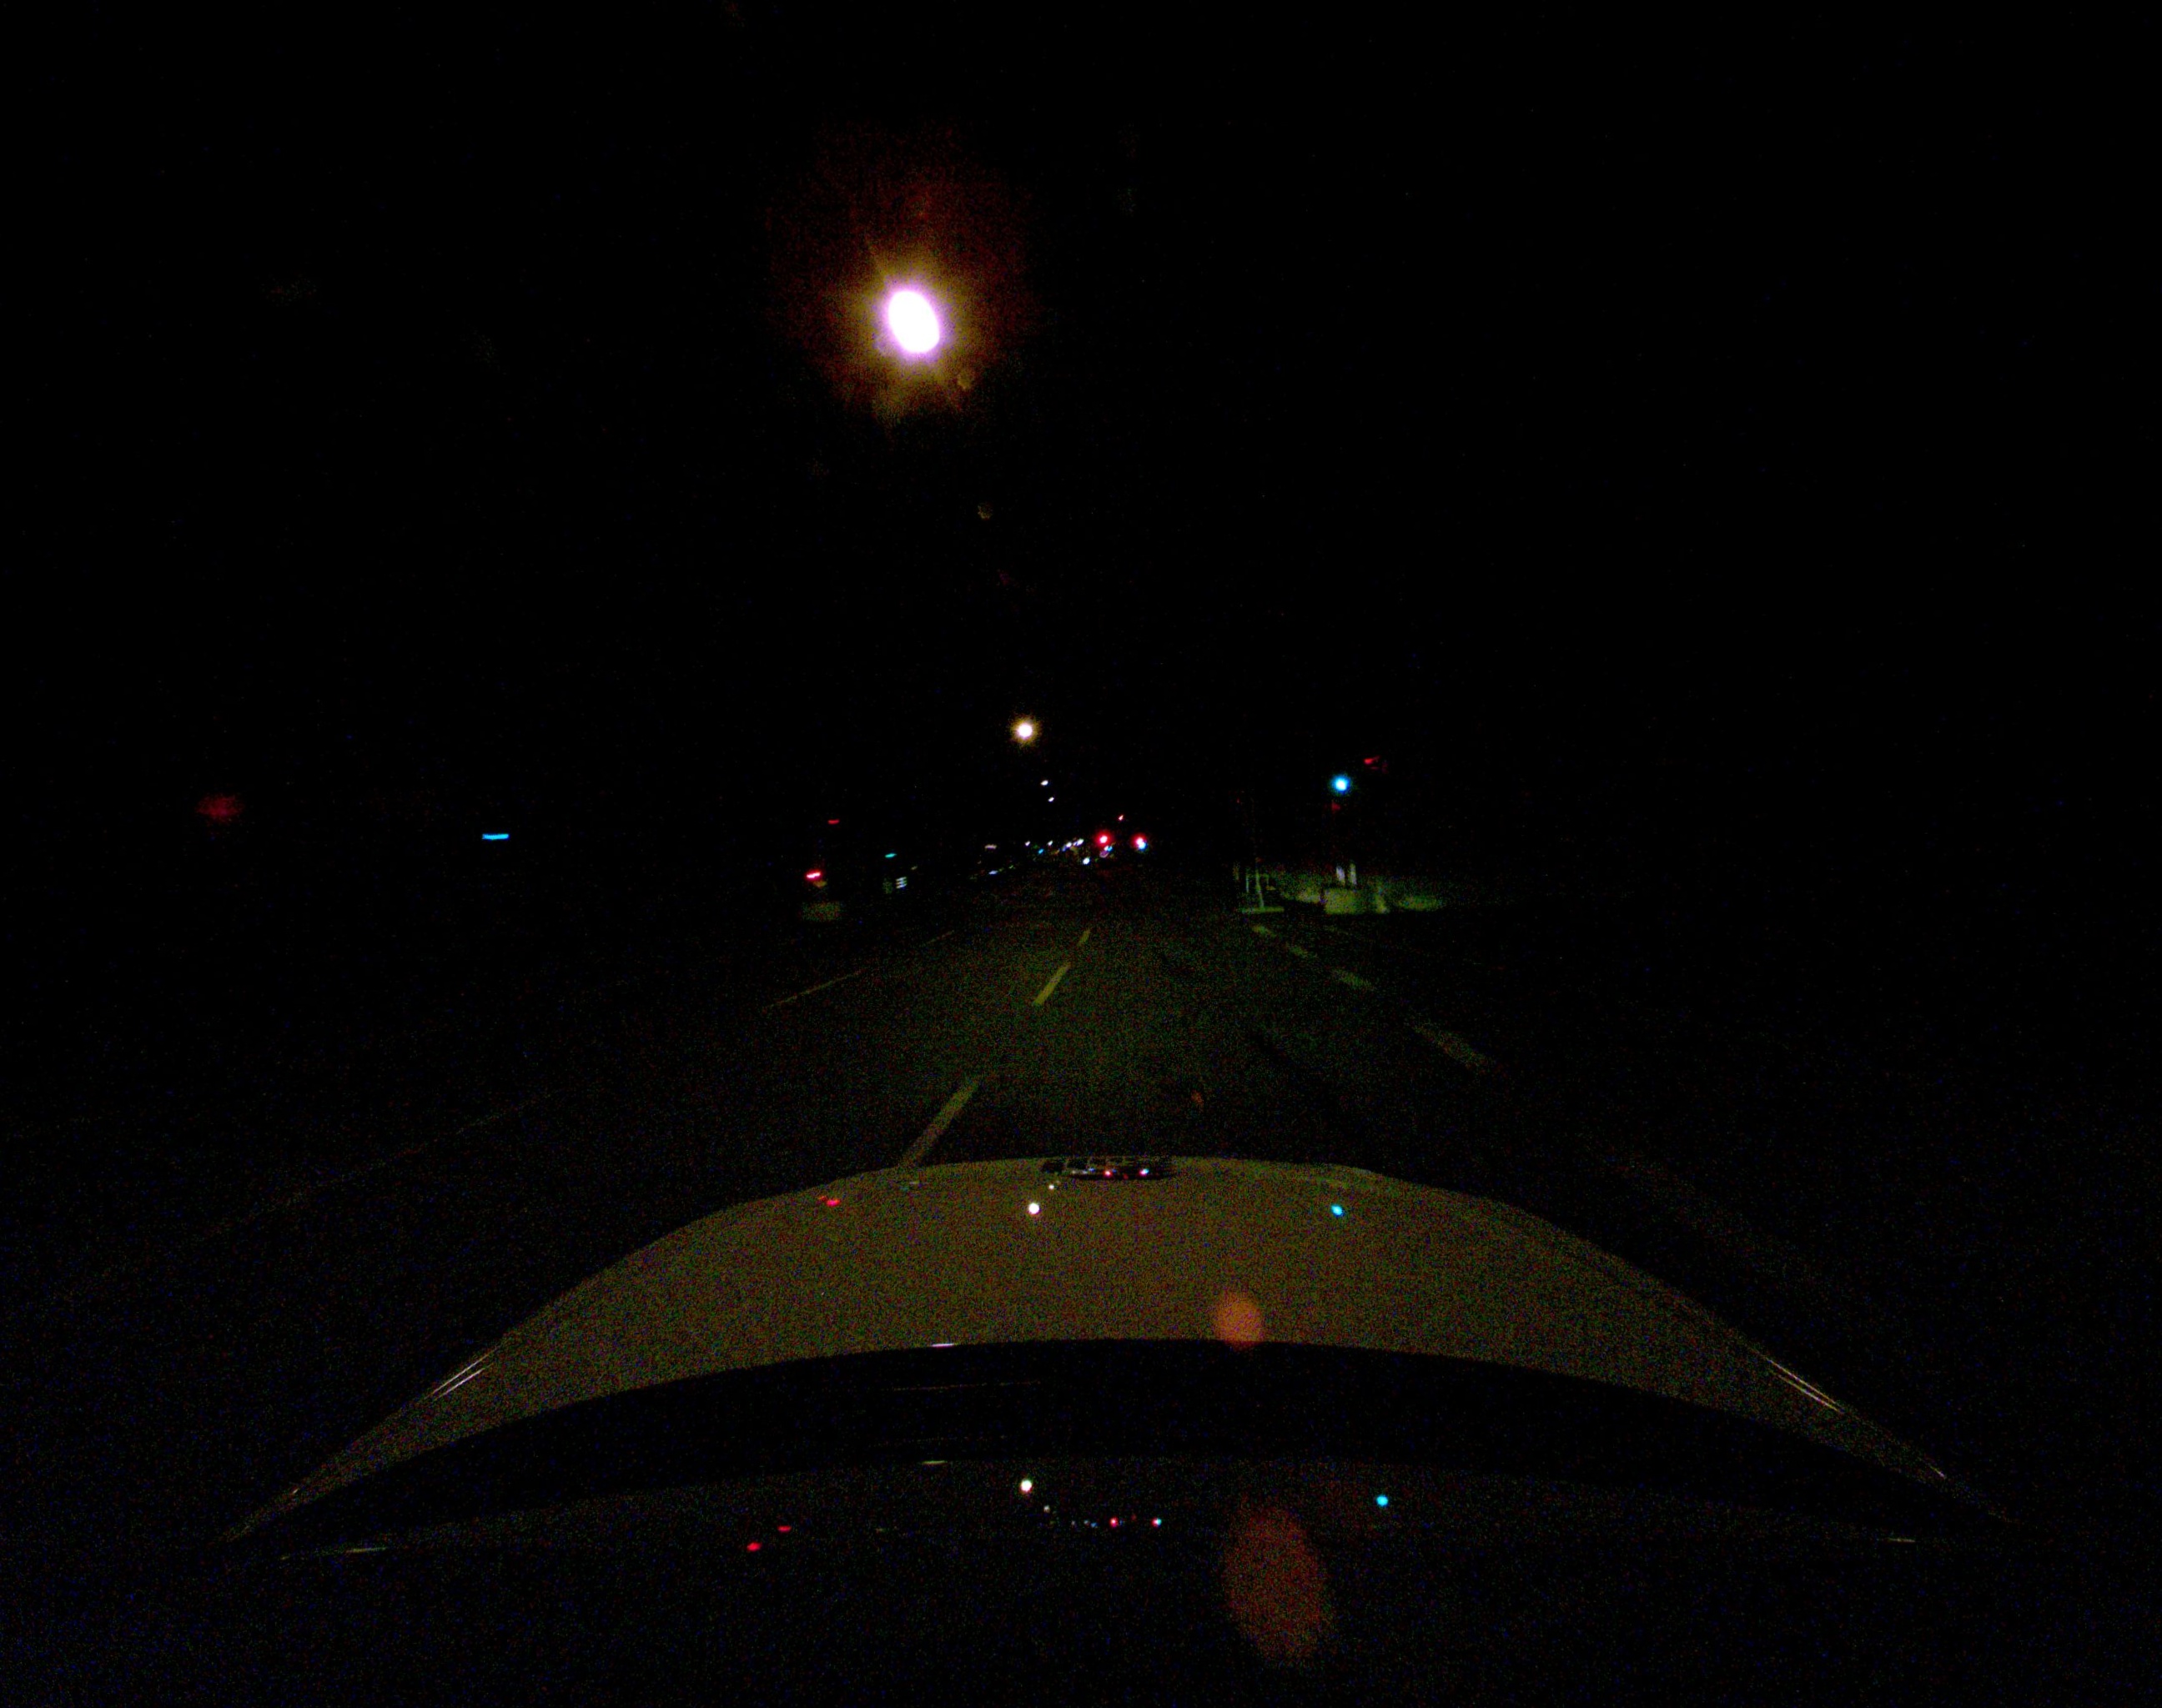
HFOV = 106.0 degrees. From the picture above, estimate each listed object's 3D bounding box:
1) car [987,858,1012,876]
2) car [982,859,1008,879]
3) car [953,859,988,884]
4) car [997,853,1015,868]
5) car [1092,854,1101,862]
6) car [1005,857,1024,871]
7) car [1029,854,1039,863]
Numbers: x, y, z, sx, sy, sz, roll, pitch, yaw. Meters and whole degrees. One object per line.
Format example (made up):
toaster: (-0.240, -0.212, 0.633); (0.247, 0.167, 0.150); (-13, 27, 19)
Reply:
car: (-7.228, 1.135, 72.420); (1.763, 1.485, 4.860); (-3, 0, -2)
car: (-7.054, 1.178, 67.087); (1.764, 1.485, 4.763); (-3, 0, -3)
car: (-6.873, 1.096, 51.117); (1.709, 1.494, 3.987); (-1, -1, -1)
car: (-7.412, 0.615, 80.755); (1.619, 1.382, 4.446); (-3, 0, -4)
car: (2.869, 0.777, 152.523); (1.646, 1.431, 4.000); (-3, 0, 0)
car: (-7.669, 1.134, 93.862); (1.894, 1.471, 4.451); (-1, 1, -1)
car: (-8.588, 0.824, 149.565); (1.646, 1.431, 3.998); (-3, 0, -1)
